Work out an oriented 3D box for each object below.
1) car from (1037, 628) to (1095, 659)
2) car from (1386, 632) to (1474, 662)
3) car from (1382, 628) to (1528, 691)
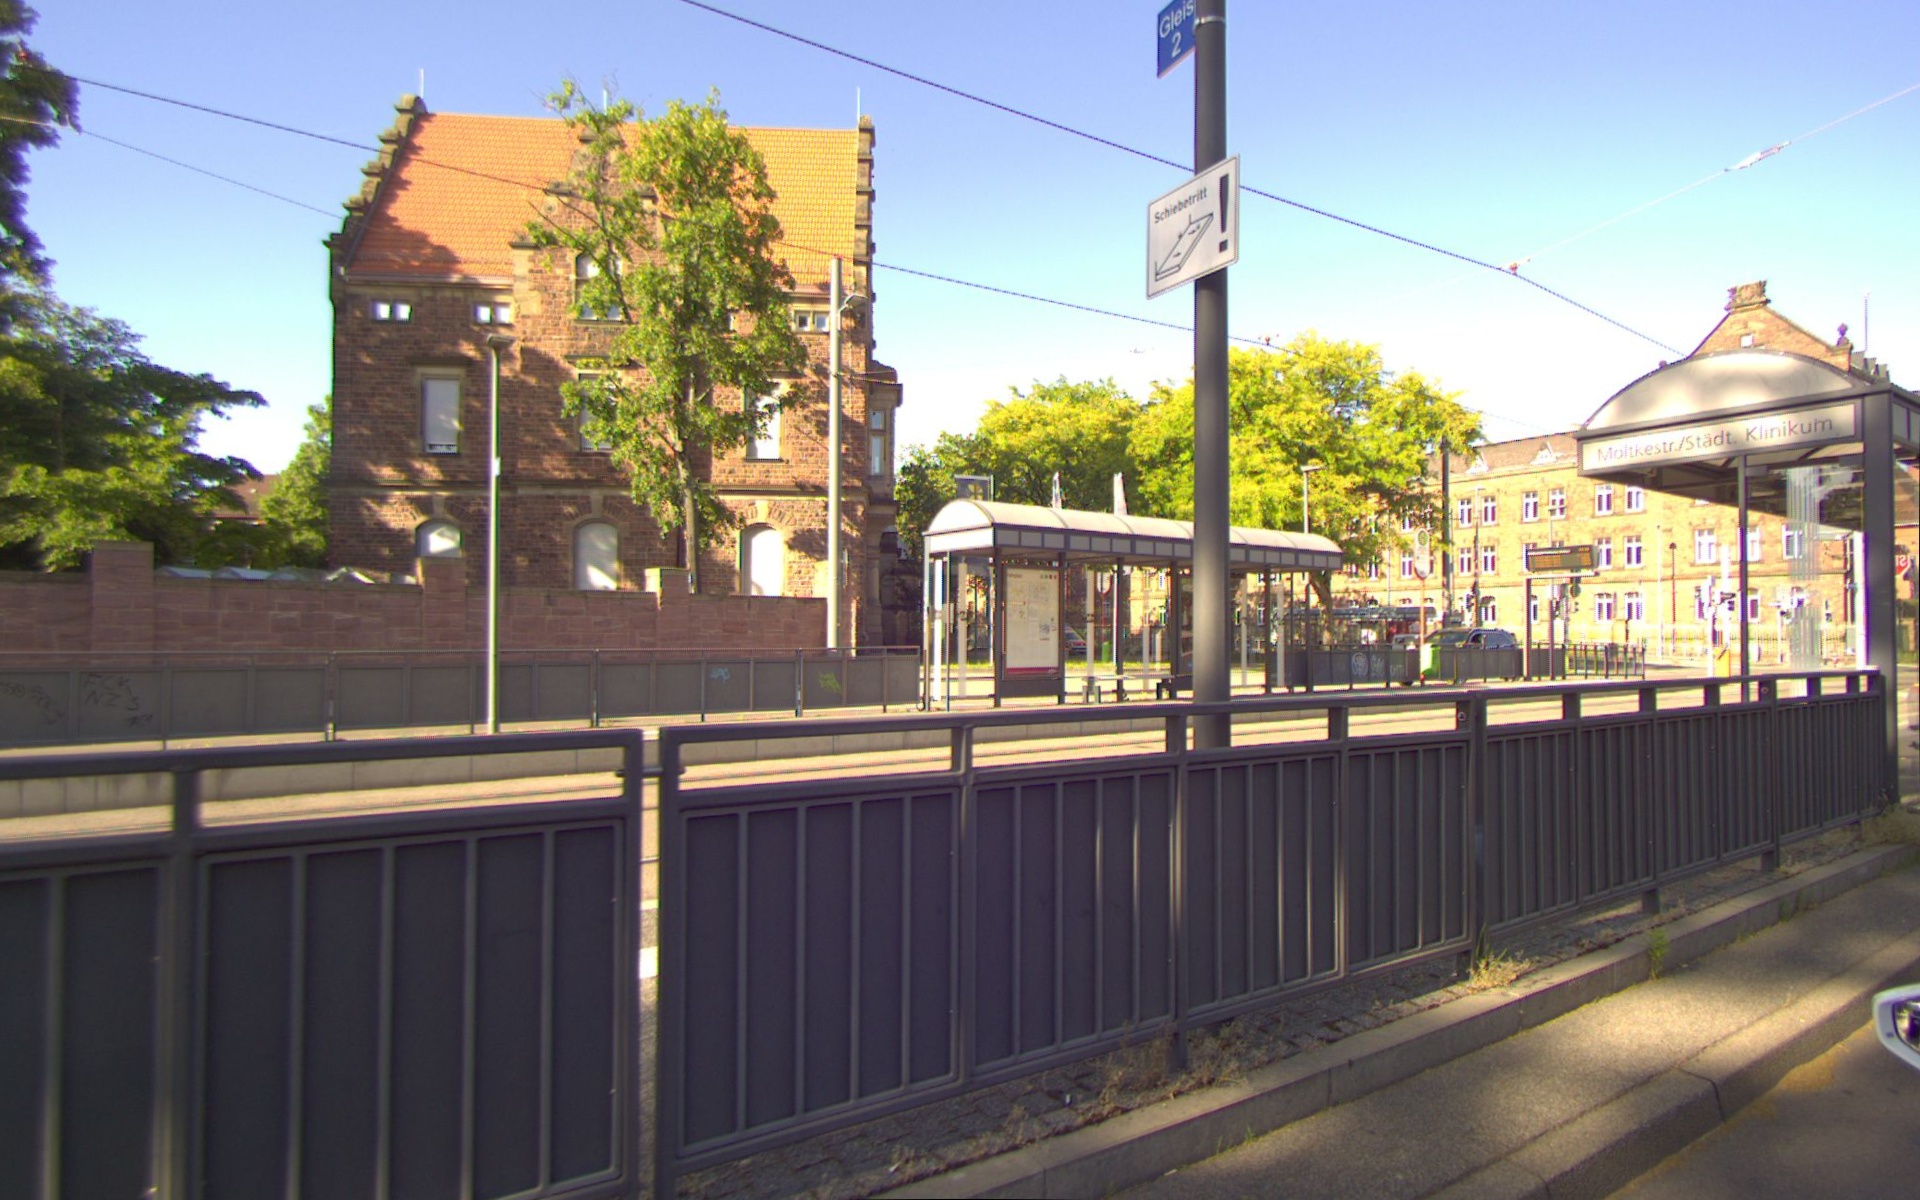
[{"bbox_3d":[8.961,3.698,85.422,2.238,2.485,4.997,2,-2,-34],"label":"car"},{"bbox_3d":[25.895,2.591,55.473,1.856,1.542,4.043,2,-2,-31],"label":"car"},{"bbox_3d":[14.489,1.679,29.334,4.310,1.699,1.896,1,-2,-32],"label":"car"}]
